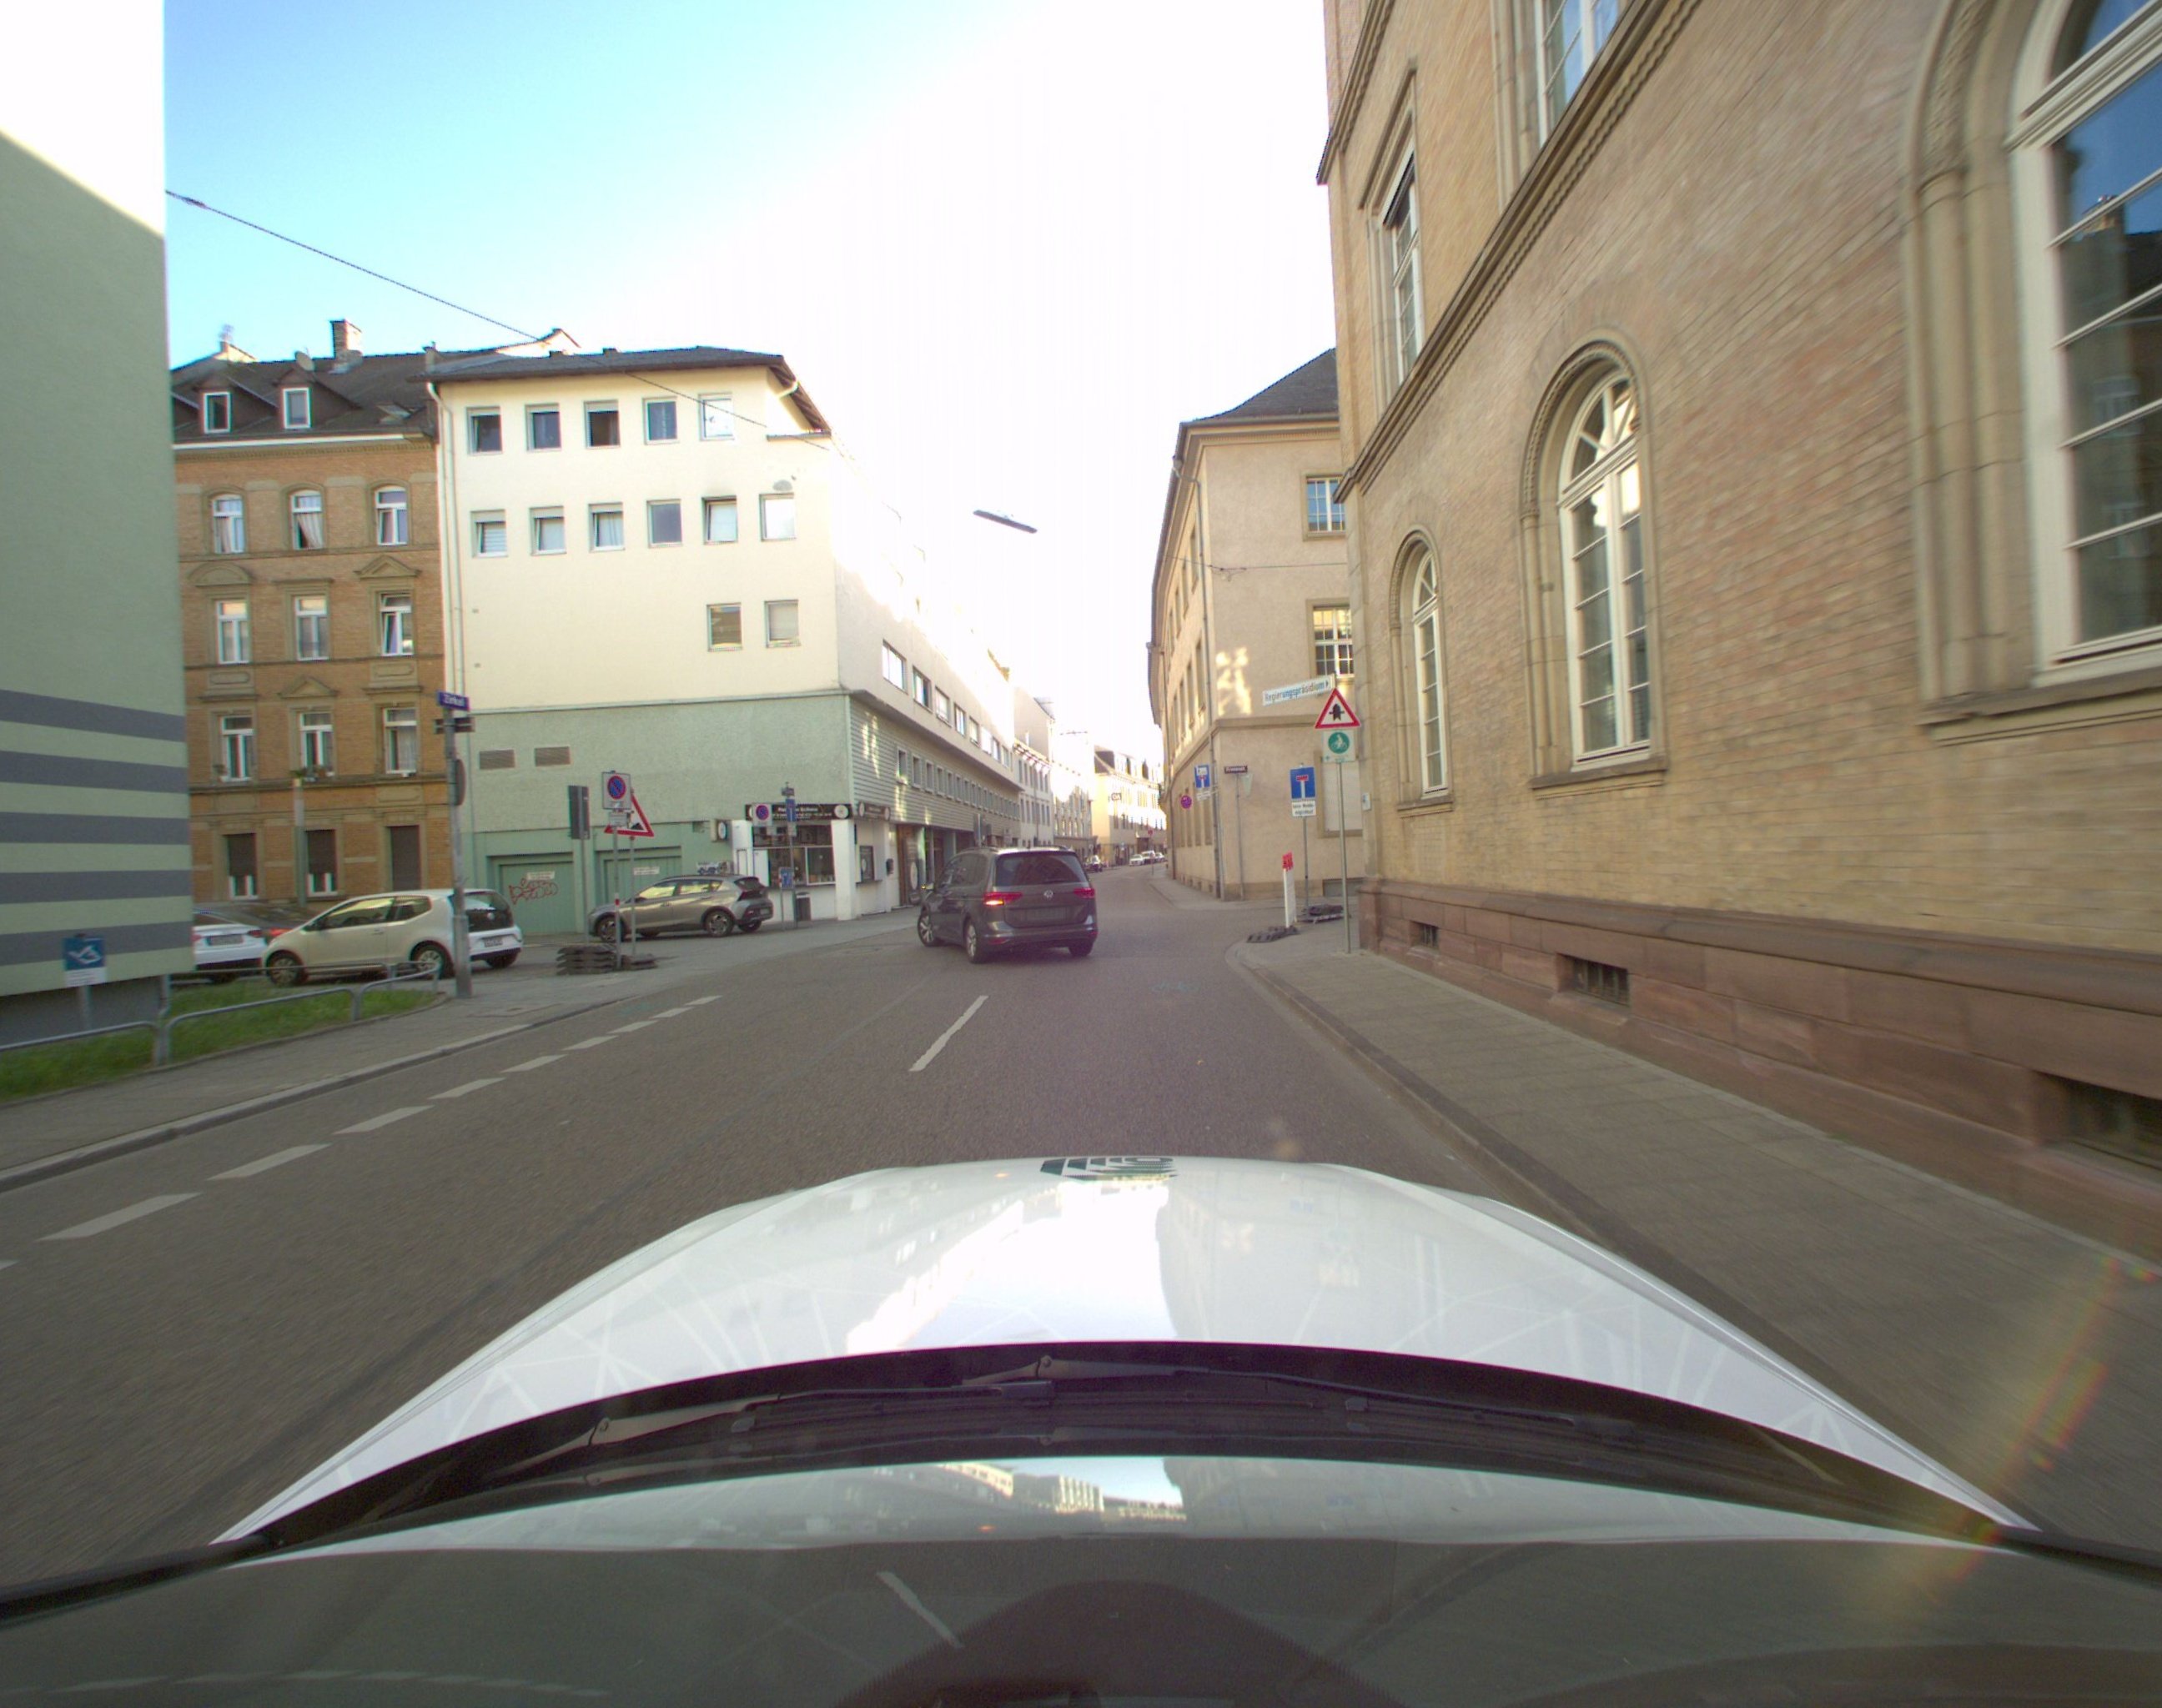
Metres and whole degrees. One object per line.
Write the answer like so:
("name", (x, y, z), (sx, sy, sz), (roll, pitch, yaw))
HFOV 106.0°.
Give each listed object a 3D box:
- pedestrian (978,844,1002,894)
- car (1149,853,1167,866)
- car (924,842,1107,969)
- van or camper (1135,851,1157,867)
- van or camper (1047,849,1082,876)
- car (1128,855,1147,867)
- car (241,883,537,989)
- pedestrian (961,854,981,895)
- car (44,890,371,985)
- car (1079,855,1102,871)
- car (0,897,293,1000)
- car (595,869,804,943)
("pedestrian", (-3.460, 0.561, 30.982), (0.550, 1.829, 0.735), (-3, 0, 25))
("car", (11.530, 0.792, 121.872), (1.811, 1.726, 4.019), (-3, 0, 18))
("car", (-1.194, 0.669, 12.633), (1.769, 1.607, 3.971), (-1, 0, -21))
("van or camper", (9.241, 0.683, 115.610), (1.978, 2.013, 5.021), (-2, 0, 17))
("van or camper", (-1.236, 0.639, 63.553), (1.983, 2.013, 4.492), (-3, 0, 7))
("car", (7.583, 0.890, 109.893), (1.721, 1.468, 4.016), (-3, 0, 15))
("car", (-11.747, 1.349, 13.997), (3.486, 1.443, 1.815), (-3, 0, 2))
("pedestrian", (-5.056, 0.932, 37.490), (0.726, 1.829, 0.557), (-3, 0, 1))
("car", (-17.689, 1.652, 16.662), (4.594, 1.541, 2.002), (-3, 0, 3))
("car", (0.957, 0.865, 79.712), (1.856, 1.468, 3.840), (-2, 0, 6))
("car", (-16.722, 1.612, 14.127), (4.340, 1.443, 1.814), (-2, 0, 2))
("car", (-9.186, 1.229, 19.842), (4.081, 1.443, 1.949), (-3, 0, 2))
